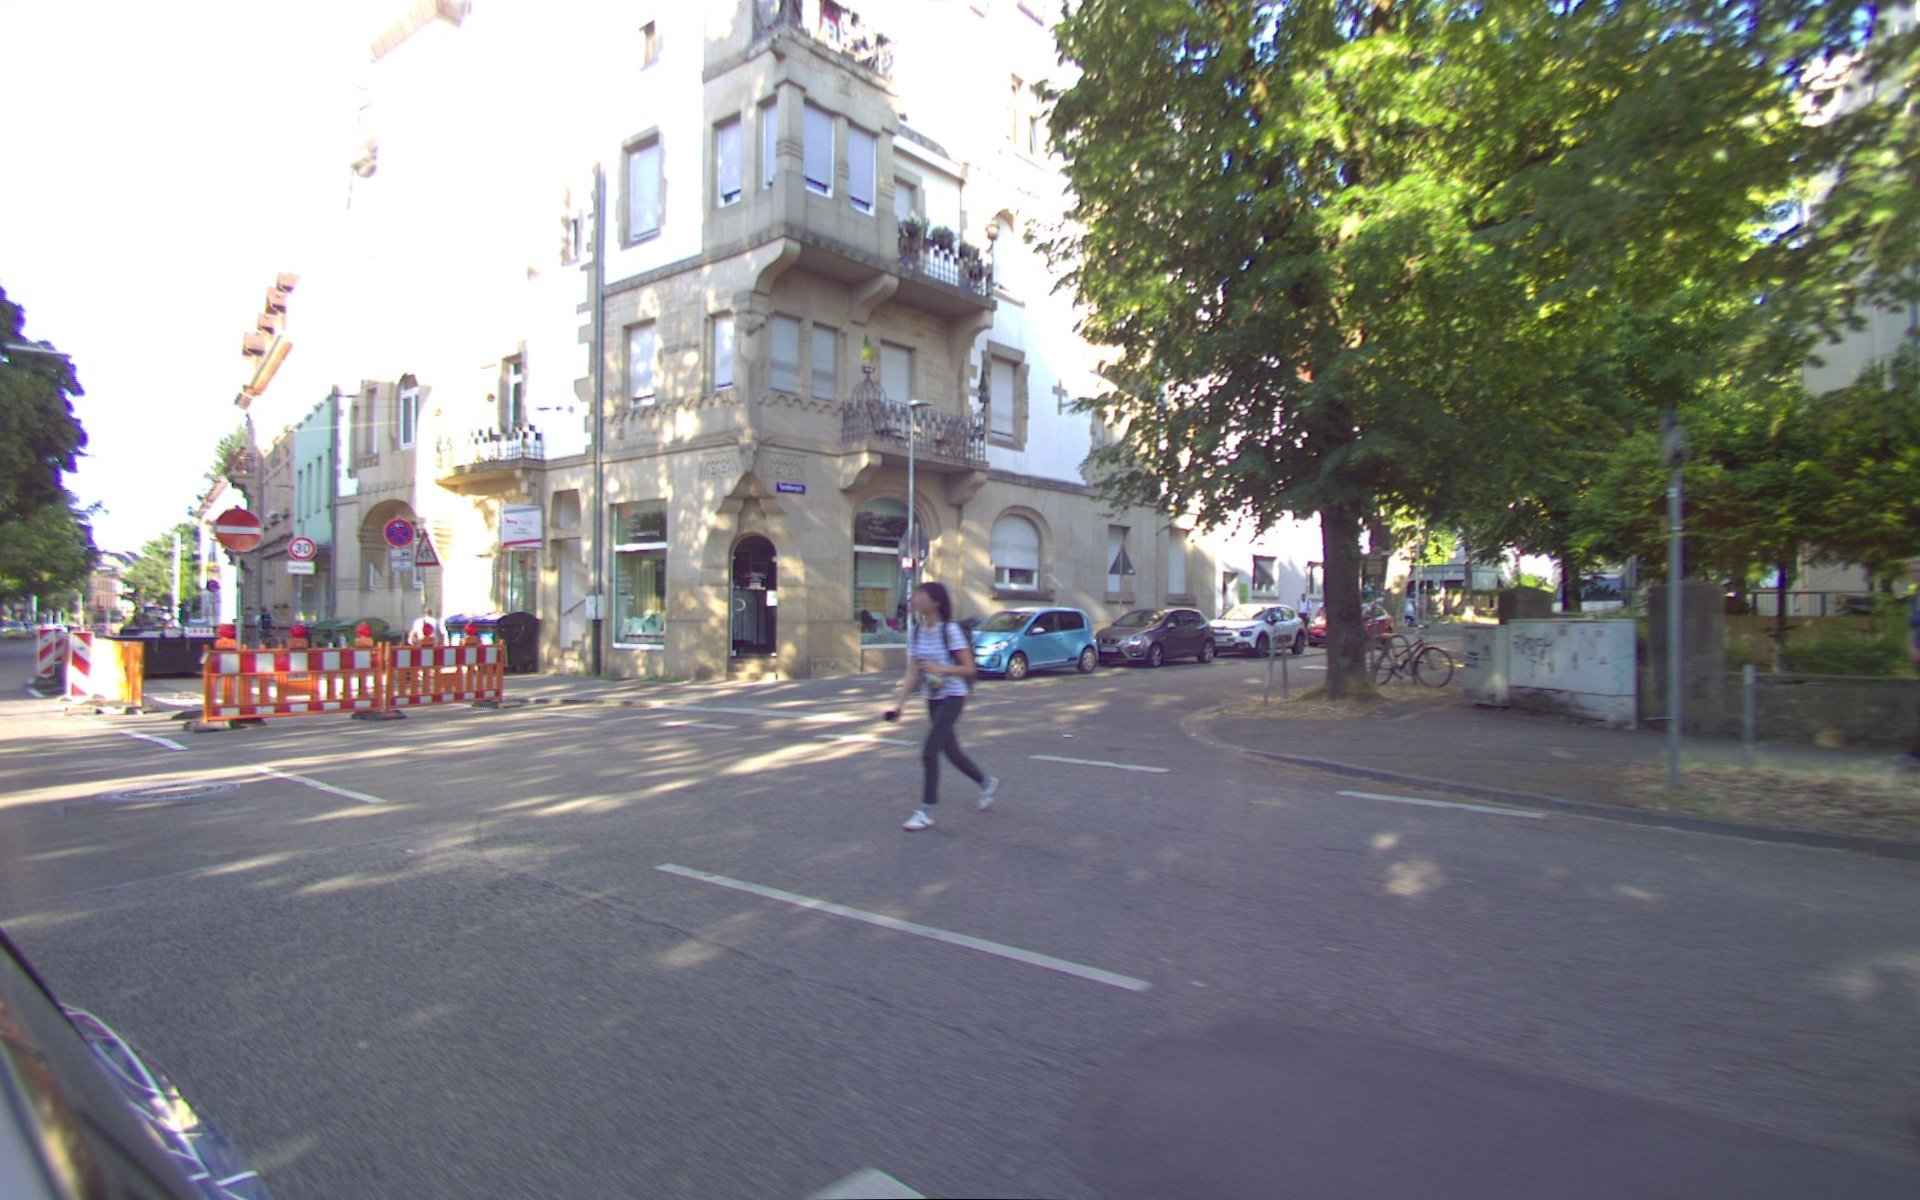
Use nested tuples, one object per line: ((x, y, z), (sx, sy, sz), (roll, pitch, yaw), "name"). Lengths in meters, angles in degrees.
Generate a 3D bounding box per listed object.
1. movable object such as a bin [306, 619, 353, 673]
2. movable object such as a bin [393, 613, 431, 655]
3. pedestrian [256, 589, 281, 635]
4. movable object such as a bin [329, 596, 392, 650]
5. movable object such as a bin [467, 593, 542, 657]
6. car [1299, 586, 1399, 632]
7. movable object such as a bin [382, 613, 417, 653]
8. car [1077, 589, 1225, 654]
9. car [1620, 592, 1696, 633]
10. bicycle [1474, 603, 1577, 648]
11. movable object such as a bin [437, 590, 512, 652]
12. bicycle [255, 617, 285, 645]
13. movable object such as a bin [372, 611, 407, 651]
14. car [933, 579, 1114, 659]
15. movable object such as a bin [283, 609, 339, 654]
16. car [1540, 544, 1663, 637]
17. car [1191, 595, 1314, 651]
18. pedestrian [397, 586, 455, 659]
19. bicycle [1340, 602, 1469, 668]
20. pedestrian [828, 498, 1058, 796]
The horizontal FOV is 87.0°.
((-18.009, 1.295, 28.897), (1.068, 1.442, 1.411), (-1, 0, -34), "movable object such as a bin")
((-14.104, 0.865, 26.033), (0.763, 1.049, 0.629), (-1, 0, 41), "movable object such as a bin")
((-23.780, 0.415, 34.814), (0.591, 1.567, 0.616), (-1, 0, -45), "pedestrian")
((-16.413, 0.616, 27.708), (1.406, 1.442, 1.071), (-1, 0, 41), "movable object such as a bin")
((-10.616, 0.562, 23.589), (1.343, 1.442, 1.073), (-1, 0, 36), "movable object such as a bin")
((13.371, 0.326, 34.659), (1.999, 1.497, 3.946), (-1, -1, 40), "car")
((-14.659, 0.854, 26.456), (0.556, 1.031, 0.629), (-1, 0, 40), "movable object such as a bin")
((4.866, 0.533, 25.468), (1.999, 1.497, 3.946), (-1, -1, 40), "car")
((26.770, 0.490, 38.774), (1.999, 1.497, 3.946), (-1, -1, 40), "car")
((13.512, 0.591, 24.236), (0.913, 1.017, 1.939), (-1, 0, -31), "bicycle")
((-11.745, 0.488, 24.486), (1.404, 1.442, 1.073), (-1, 0, 36), "movable object such as a bin")
((-23.725, 1.055, 34.768), (0.593, 0.939, 1.474), (-1, 0, -44), "bicycle")
((-15.124, 0.815, 26.822), (0.588, 1.049, 0.629), (-1, 0, 40), "movable object such as a bin")
((1.455, 0.410, 22.019), (1.999, 1.564, 3.946), (-1, -1, 40), "car")
((-19.257, 0.914, 30.019), (1.335, 1.273, 1.071), (-1, 0, 42), "movable object such as a bin")
((19.670, -0.217, 30.927), (2.456, 2.584, 5.182), (-1, -1, 40), "car")
((8.518, 0.648, 29.274), (1.999, 1.497, 3.946), (-1, -1, 40), "car")
((-12.226, 0.501, 23.183), (0.914, 1.615, 0.814), (-1, 0, 32), "pedestrian")
((7.743, 0.587, 17.699), (0.736, 1.085, 1.937), (-1, 0, -39), "bicycle")
((-0.126, 0.290, 6.884), (1.031, 1.795, 1.193), (0, -1, -43), "pedestrian")
